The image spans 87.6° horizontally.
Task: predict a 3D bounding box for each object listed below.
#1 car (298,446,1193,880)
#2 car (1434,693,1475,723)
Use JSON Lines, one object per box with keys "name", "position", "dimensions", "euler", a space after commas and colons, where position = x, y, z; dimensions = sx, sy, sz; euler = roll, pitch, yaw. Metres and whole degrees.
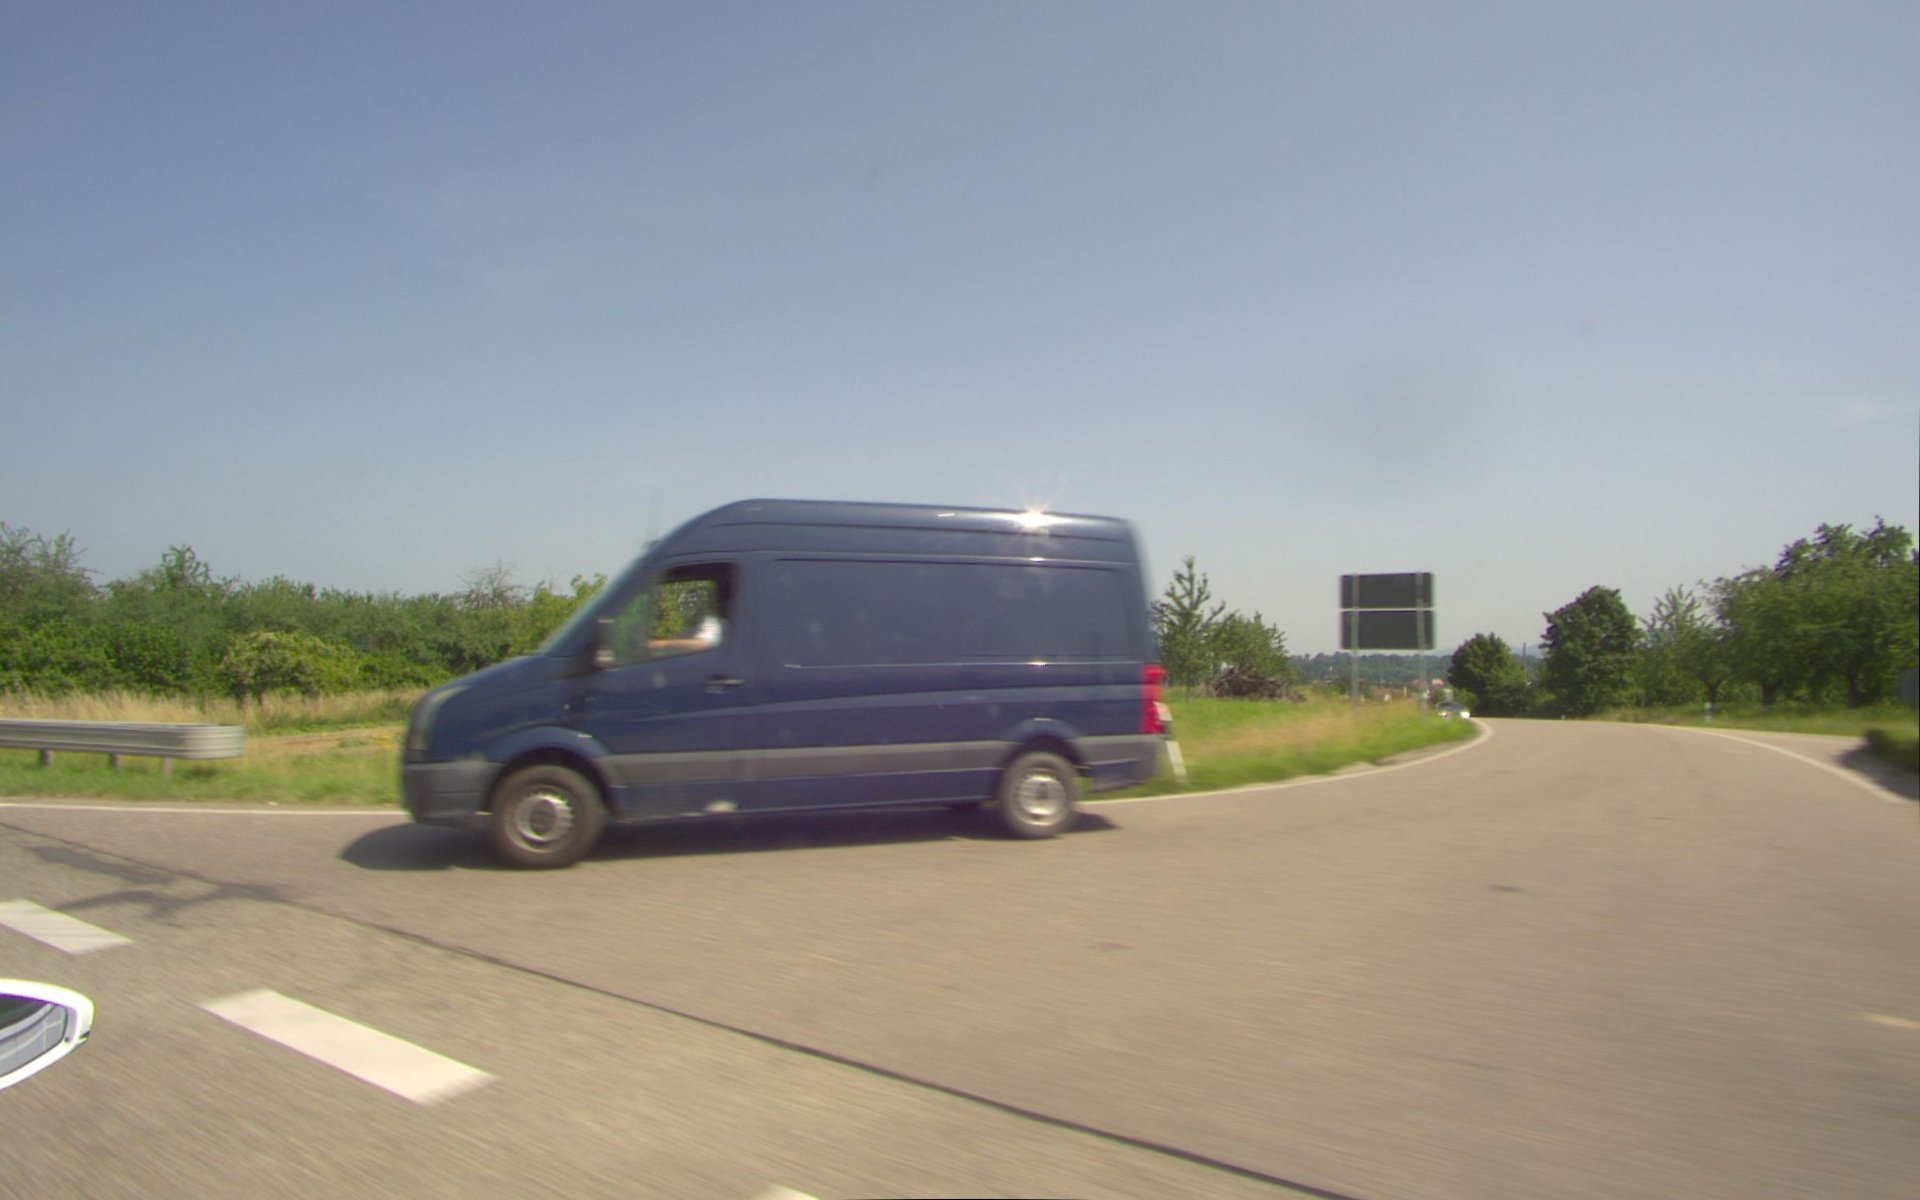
{"name": "car", "position": [-1.362, 0.522, 8.059], "dimensions": [6.206, 2.606, 2.058], "euler": [2, -3, -20]}
{"name": "car", "position": [32.831, 7.168, 66.615], "dimensions": [1.966, 1.717, 4.667], "euler": [-3, -4, 21]}
